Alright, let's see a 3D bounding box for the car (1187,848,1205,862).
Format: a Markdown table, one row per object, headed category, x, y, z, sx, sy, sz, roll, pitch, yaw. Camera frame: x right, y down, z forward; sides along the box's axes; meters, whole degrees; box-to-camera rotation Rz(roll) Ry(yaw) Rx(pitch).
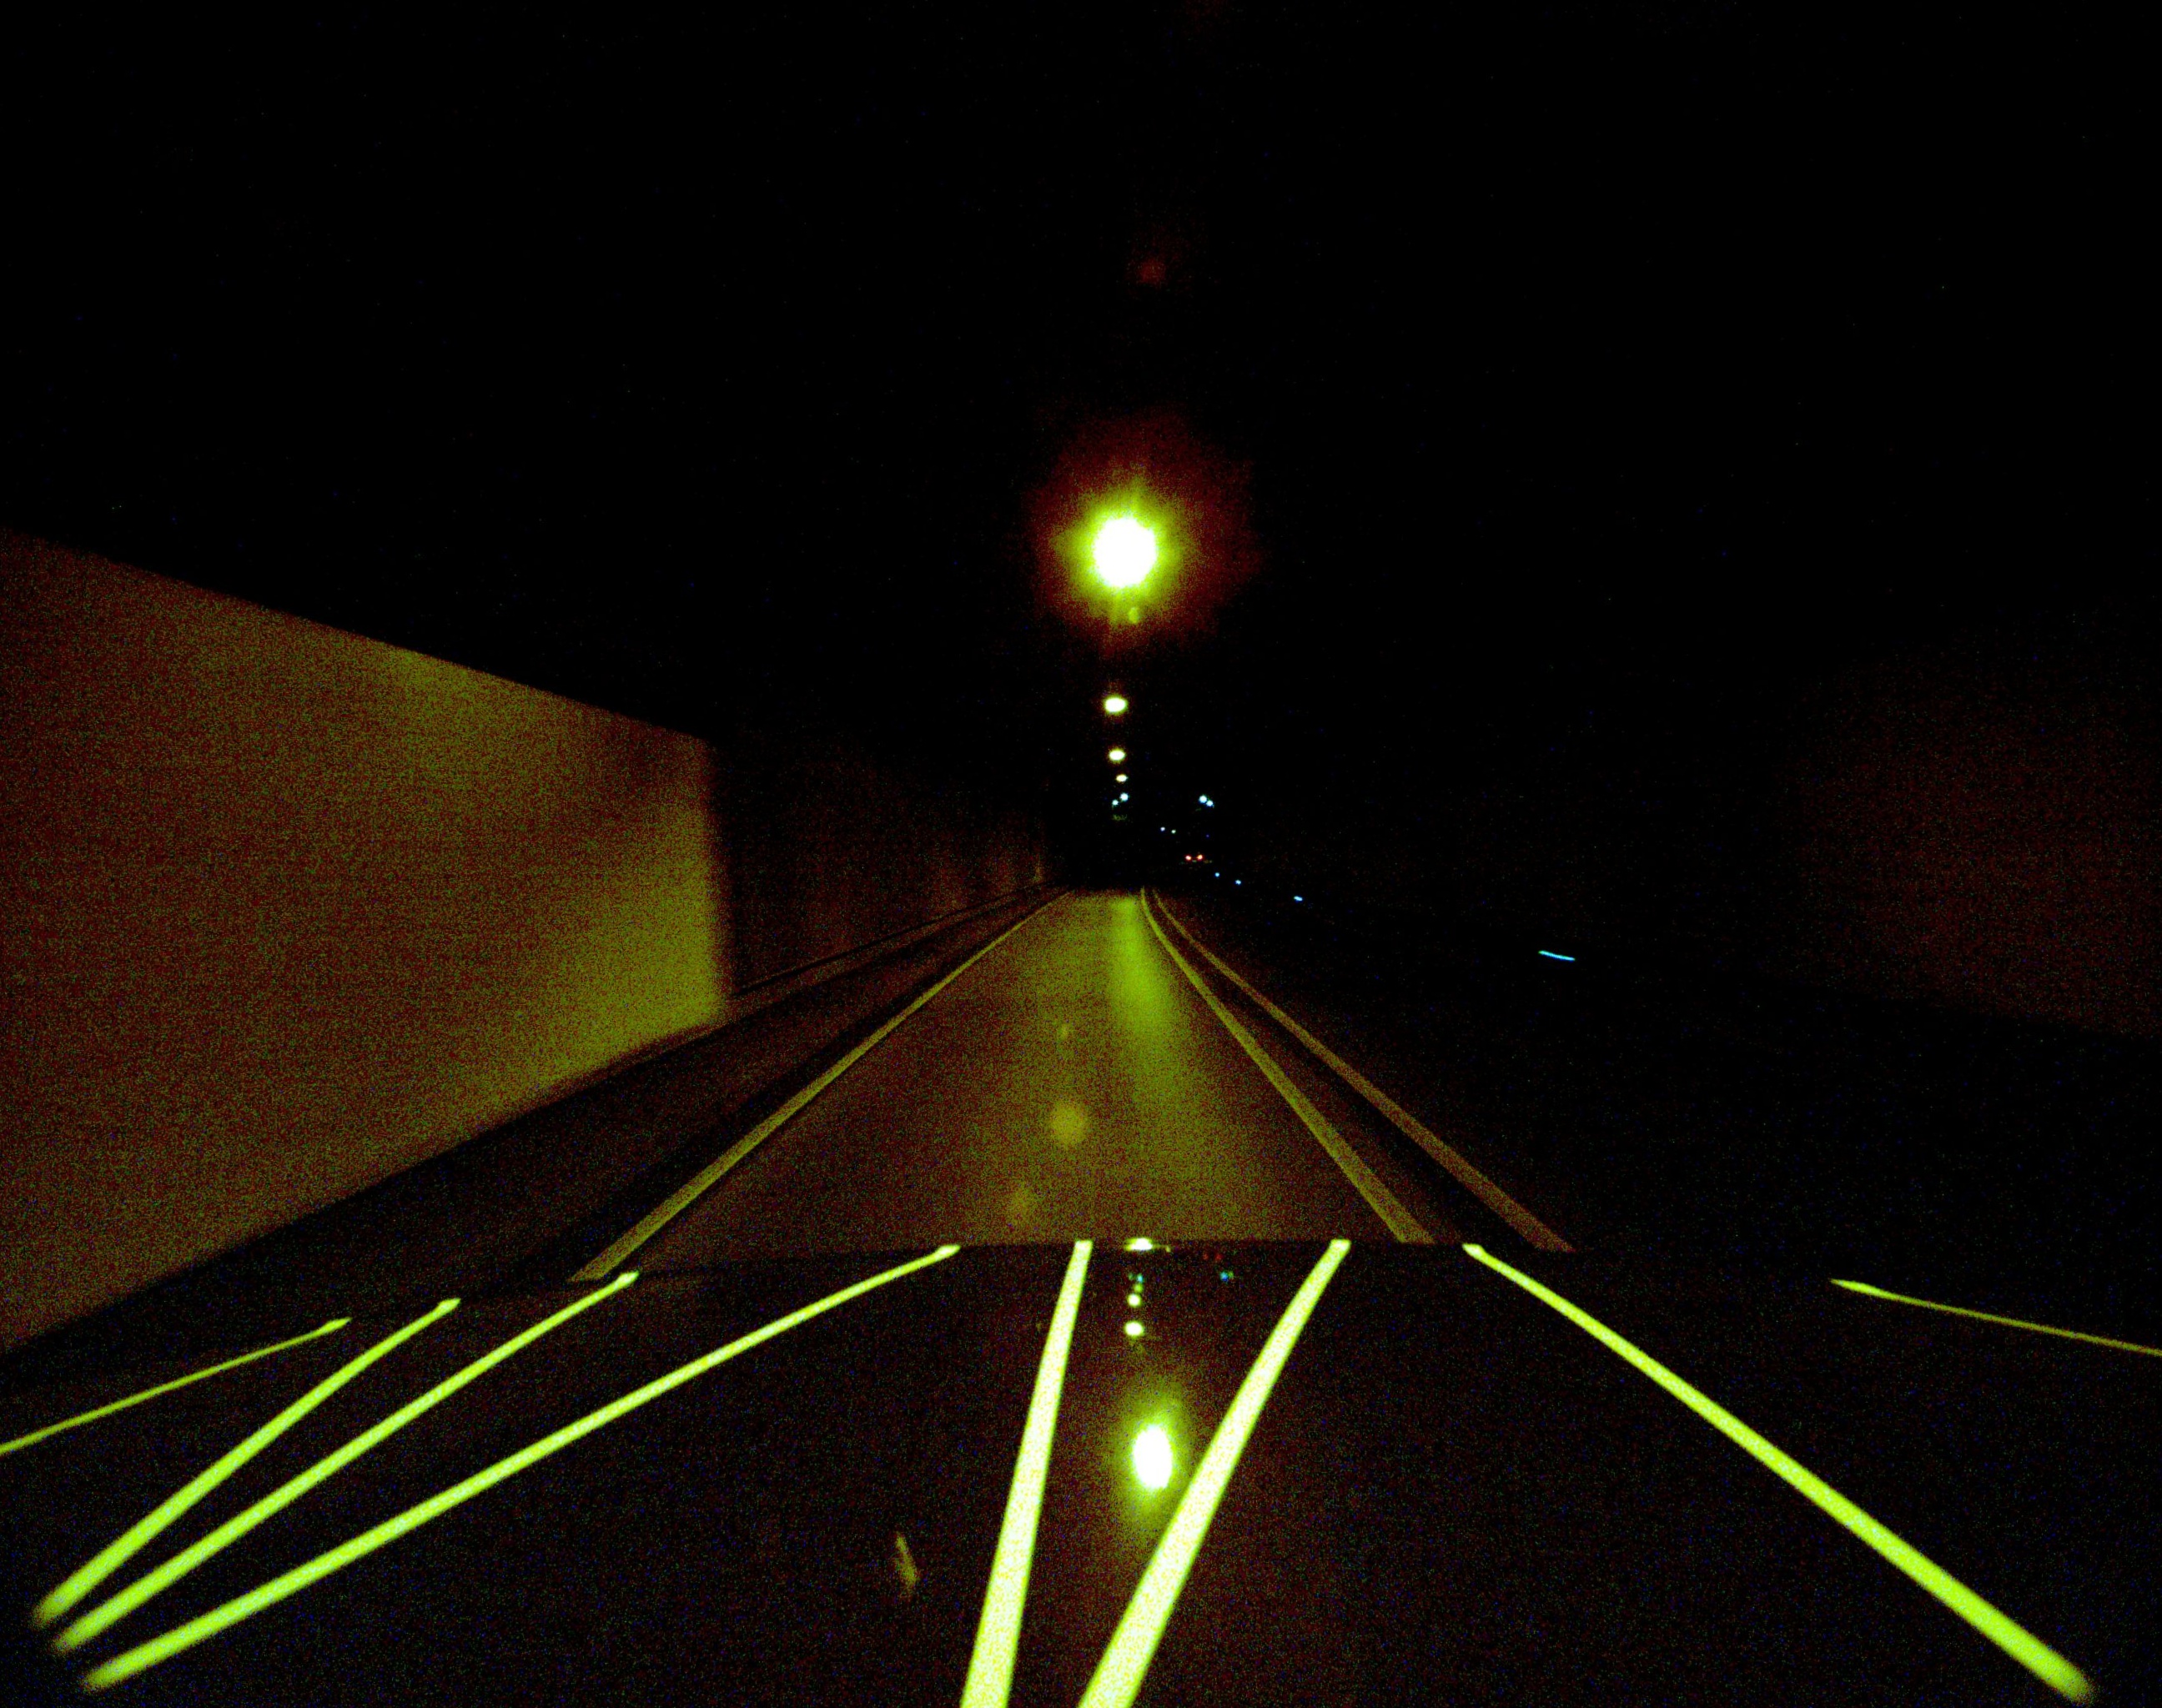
| category | x | y | z | sx | sy | sz | roll | pitch | yaw |
| --- | --- | --- | --- | --- | --- | --- | --- | --- | --- |
| car | 13.239 | 0.108 | 87.235 | 1.719 | 1.434 | 4.397 | -3 | 0 | 12 |
